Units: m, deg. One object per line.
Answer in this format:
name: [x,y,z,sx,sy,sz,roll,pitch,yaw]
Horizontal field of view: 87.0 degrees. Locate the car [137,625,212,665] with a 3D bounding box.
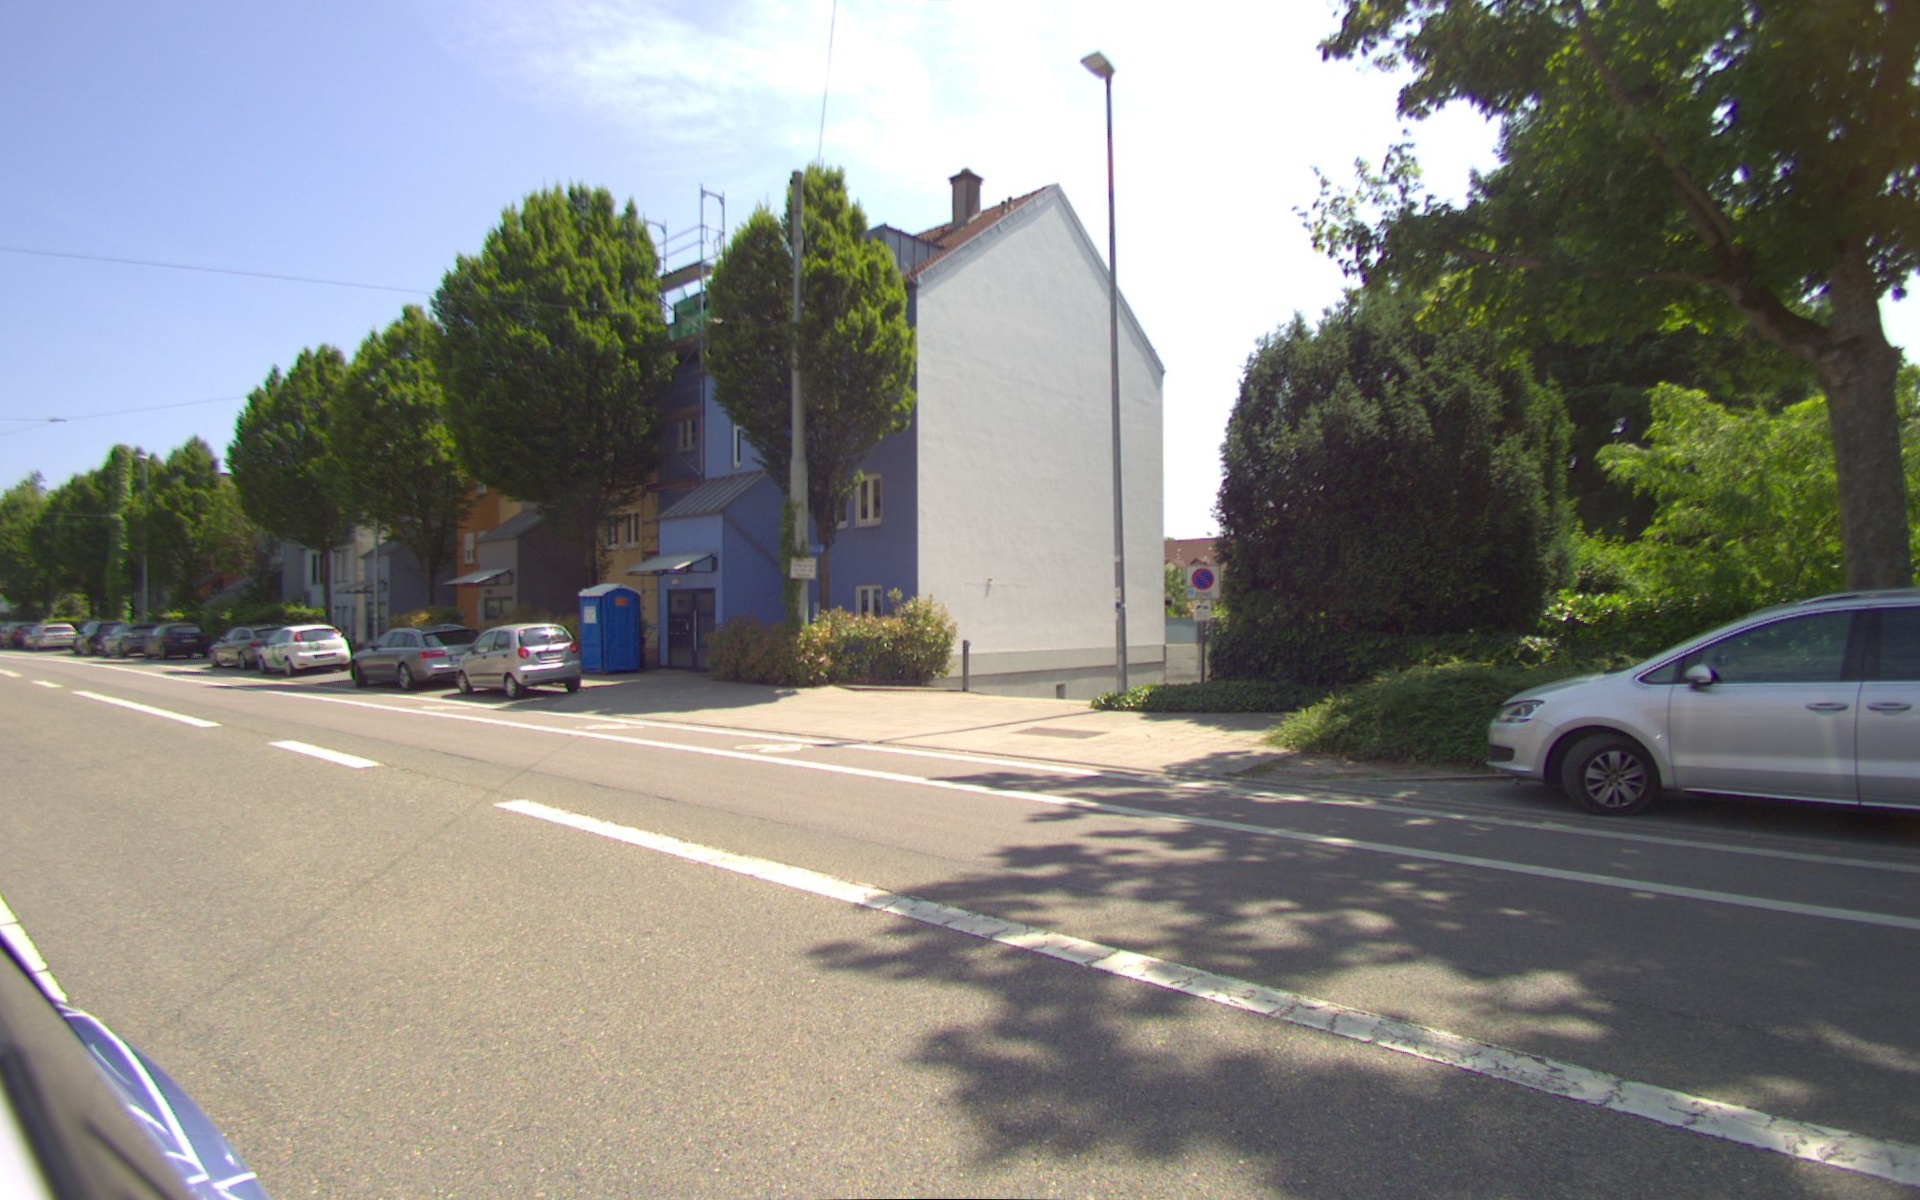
car: [-33.375,1.874,42.954,4.079,1.507,1.635,-1,2,40]

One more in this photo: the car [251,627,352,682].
car: [-20.800,1.682,31.916,3.646,1.507,1.635,-1,2,40]

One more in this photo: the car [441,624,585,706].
car: [-9.672,1.345,21.810,3.279,1.507,1.487,-1,2,40]

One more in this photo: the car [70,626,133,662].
car: [-42.164,2.141,49.694,4.079,1.599,1.635,-1,2,40]

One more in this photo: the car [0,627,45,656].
car: [-55.890,2.438,60.029,3.467,1.507,1.842,-1,2,40]

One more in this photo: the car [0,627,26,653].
car: [-59.695,2.499,62.976,3.467,1.507,1.842,-1,2,40]

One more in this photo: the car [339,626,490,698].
car: [-13.622,1.473,25.144,4.635,1.507,1.659,-1,2,40]

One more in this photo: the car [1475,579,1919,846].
car: [6.573,0.715,7.365,4.685,1.701,1.950,-2,-1,41]

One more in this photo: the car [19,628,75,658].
car: [-51.151,2.366,56.671,4.079,1.507,1.702,-1,2,40]

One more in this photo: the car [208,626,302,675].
car: [-24.722,1.712,35.428,4.079,1.507,1.635,-1,2,40]

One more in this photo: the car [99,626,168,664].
car: [-37.418,2.008,45.803,4.079,1.507,1.635,-1,2,40]
